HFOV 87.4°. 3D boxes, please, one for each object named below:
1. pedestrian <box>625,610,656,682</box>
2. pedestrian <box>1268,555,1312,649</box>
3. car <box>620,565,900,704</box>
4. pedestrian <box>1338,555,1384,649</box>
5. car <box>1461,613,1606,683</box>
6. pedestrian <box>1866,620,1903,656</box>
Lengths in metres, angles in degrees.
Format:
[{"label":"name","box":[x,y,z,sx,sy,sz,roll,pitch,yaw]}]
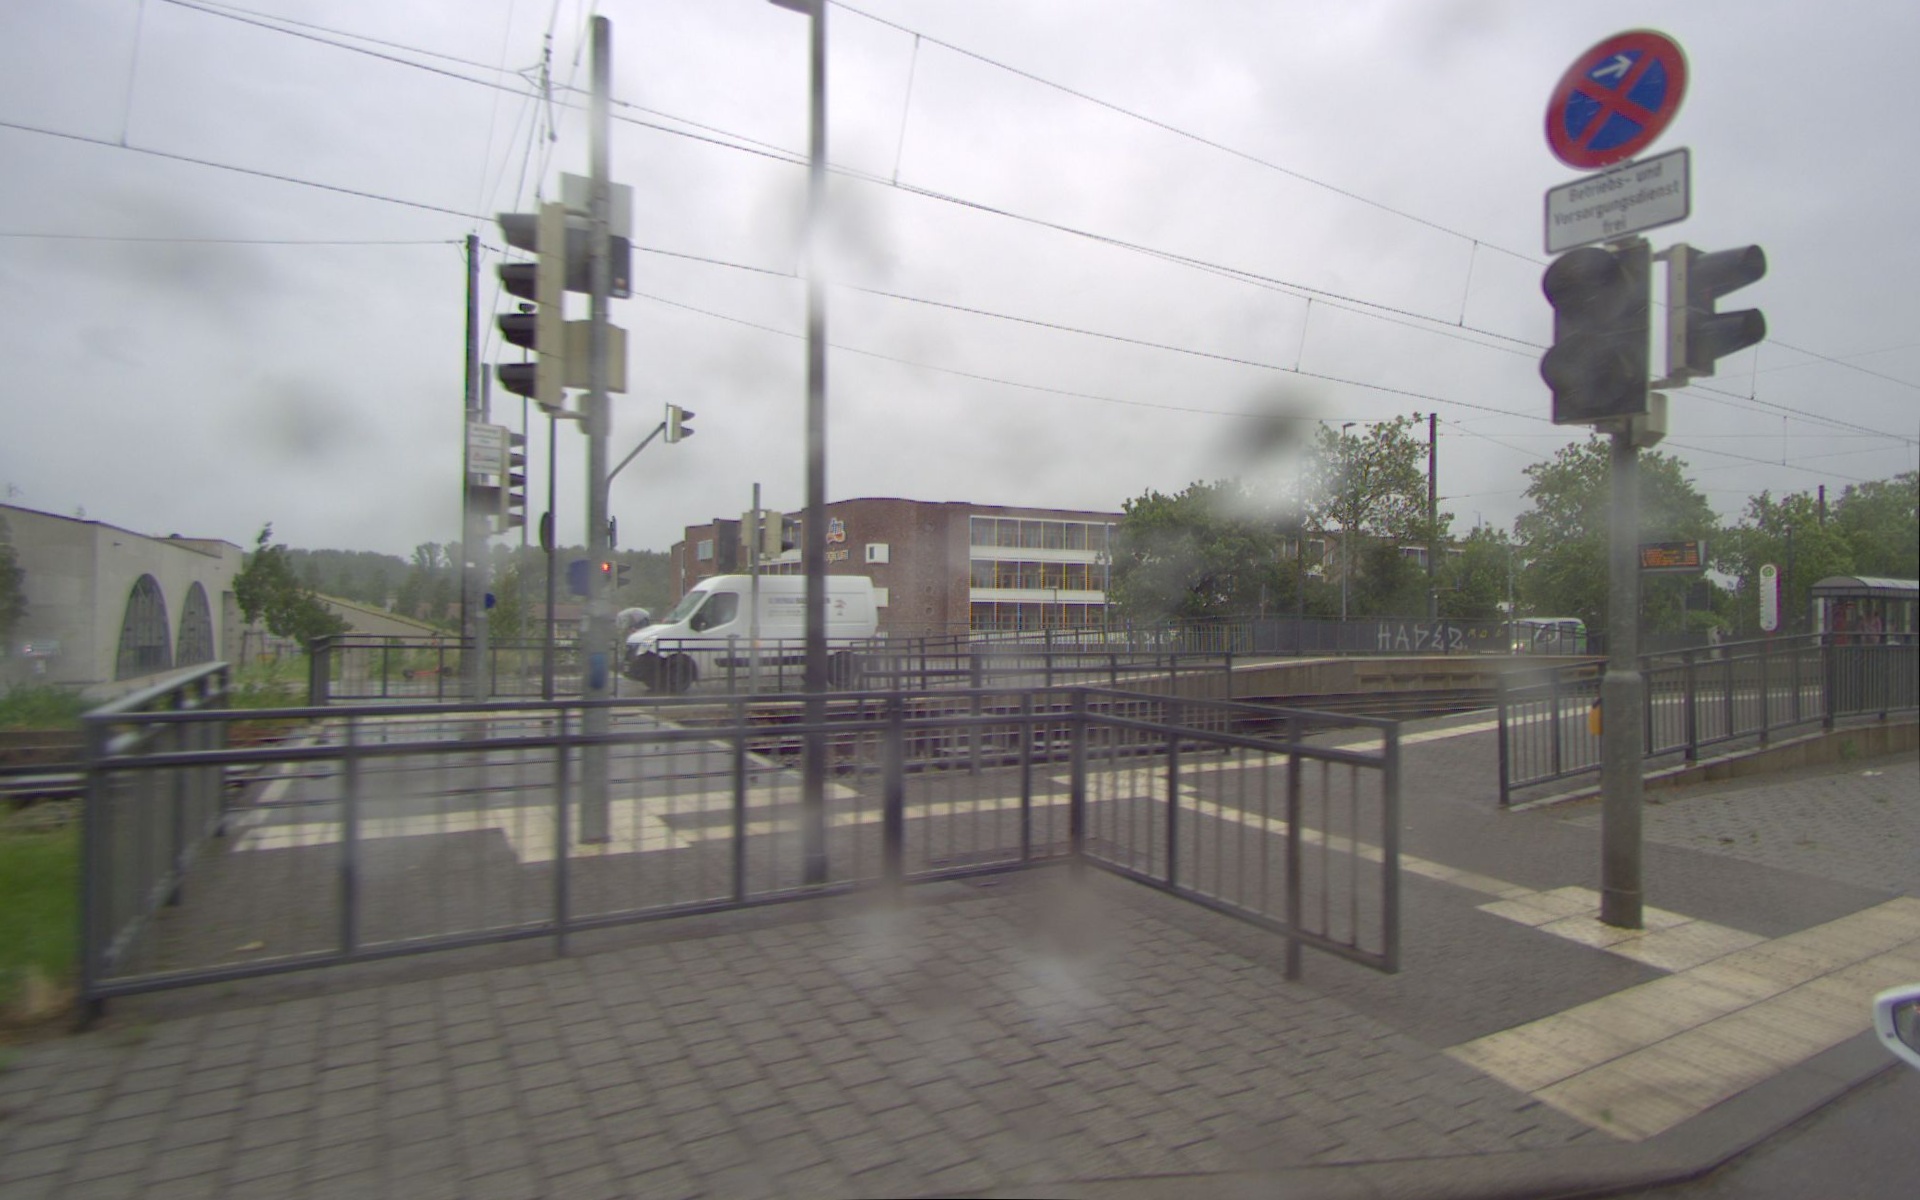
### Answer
[{"label":"pedestrian","box":[-9.244,1.316,29.052,0.688,2.040,0.695,1,0,-29]},{"label":"pedestrian","box":[14.612,0.109,44.439,1.508,4.082,1.158,2,0,-41]},{"label":"car","box":[-4.344,0.730,22.159,5.671,2.749,2.110,1,0,-30]},{"label":"pedestrian","box":[17.882,0.099,44.789,1.490,4.082,1.172,1,0,-2]},{"label":"car","box":[18.349,1.483,32.092,4.698,2.040,1.984,1,0,-31]},{"label":"pedestrian","box":[36.168,1.476,39.309,0.848,1.334,0.827,1,1,-30]}]
